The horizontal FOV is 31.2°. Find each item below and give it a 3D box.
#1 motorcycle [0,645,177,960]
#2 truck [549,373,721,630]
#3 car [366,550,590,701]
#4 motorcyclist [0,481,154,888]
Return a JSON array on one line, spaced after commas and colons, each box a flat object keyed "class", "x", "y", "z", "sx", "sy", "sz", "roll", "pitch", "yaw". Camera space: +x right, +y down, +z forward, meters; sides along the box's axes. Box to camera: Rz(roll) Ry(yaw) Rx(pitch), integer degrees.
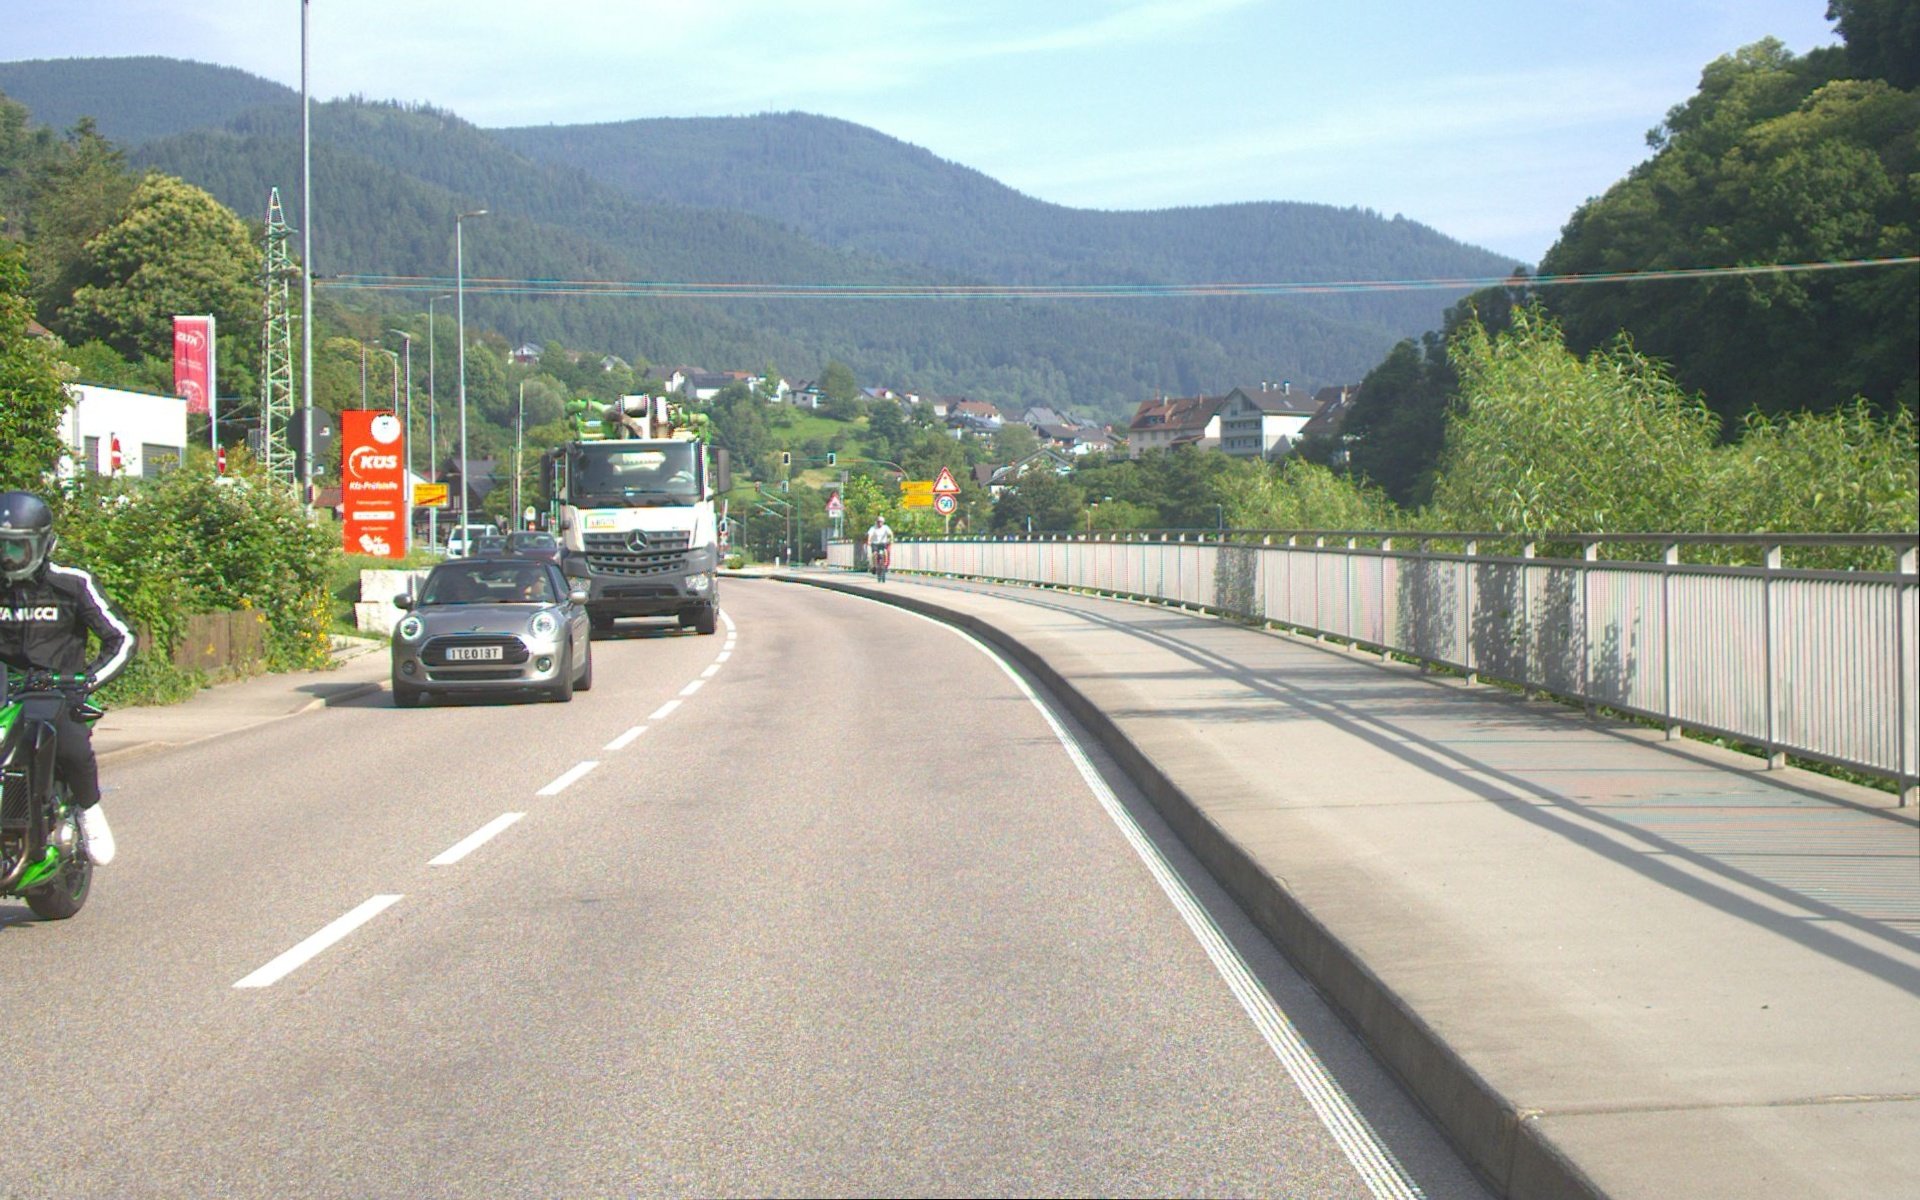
[{"class": "motorcycle", "x": -3.643, "y": 0.737, "z": 13.325, "sx": 0.654, "sy": 1.064, "sz": 2.182, "roll": -1, "pitch": 1, "yaw": 1}, {"class": "truck", "x": -5.533, "y": -1.612, "z": 58.862, "sx": 2.578, "sy": 3.918, "sz": 11.308, "roll": -1, "pitch": 1, "yaw": -5}, {"class": "car", "x": -4.718, "y": 0.221, "z": 34.136, "sx": 1.713, "sy": 1.398, "sz": 4.000, "roll": 0, "pitch": 0, "yaw": -1}, {"class": "motorcyclist", "x": -3.665, "y": 0.324, "z": 13.480, "sx": 0.825, "sy": 1.553, "sz": 0.628, "roll": -1, "pitch": 0, "yaw": 2}]
